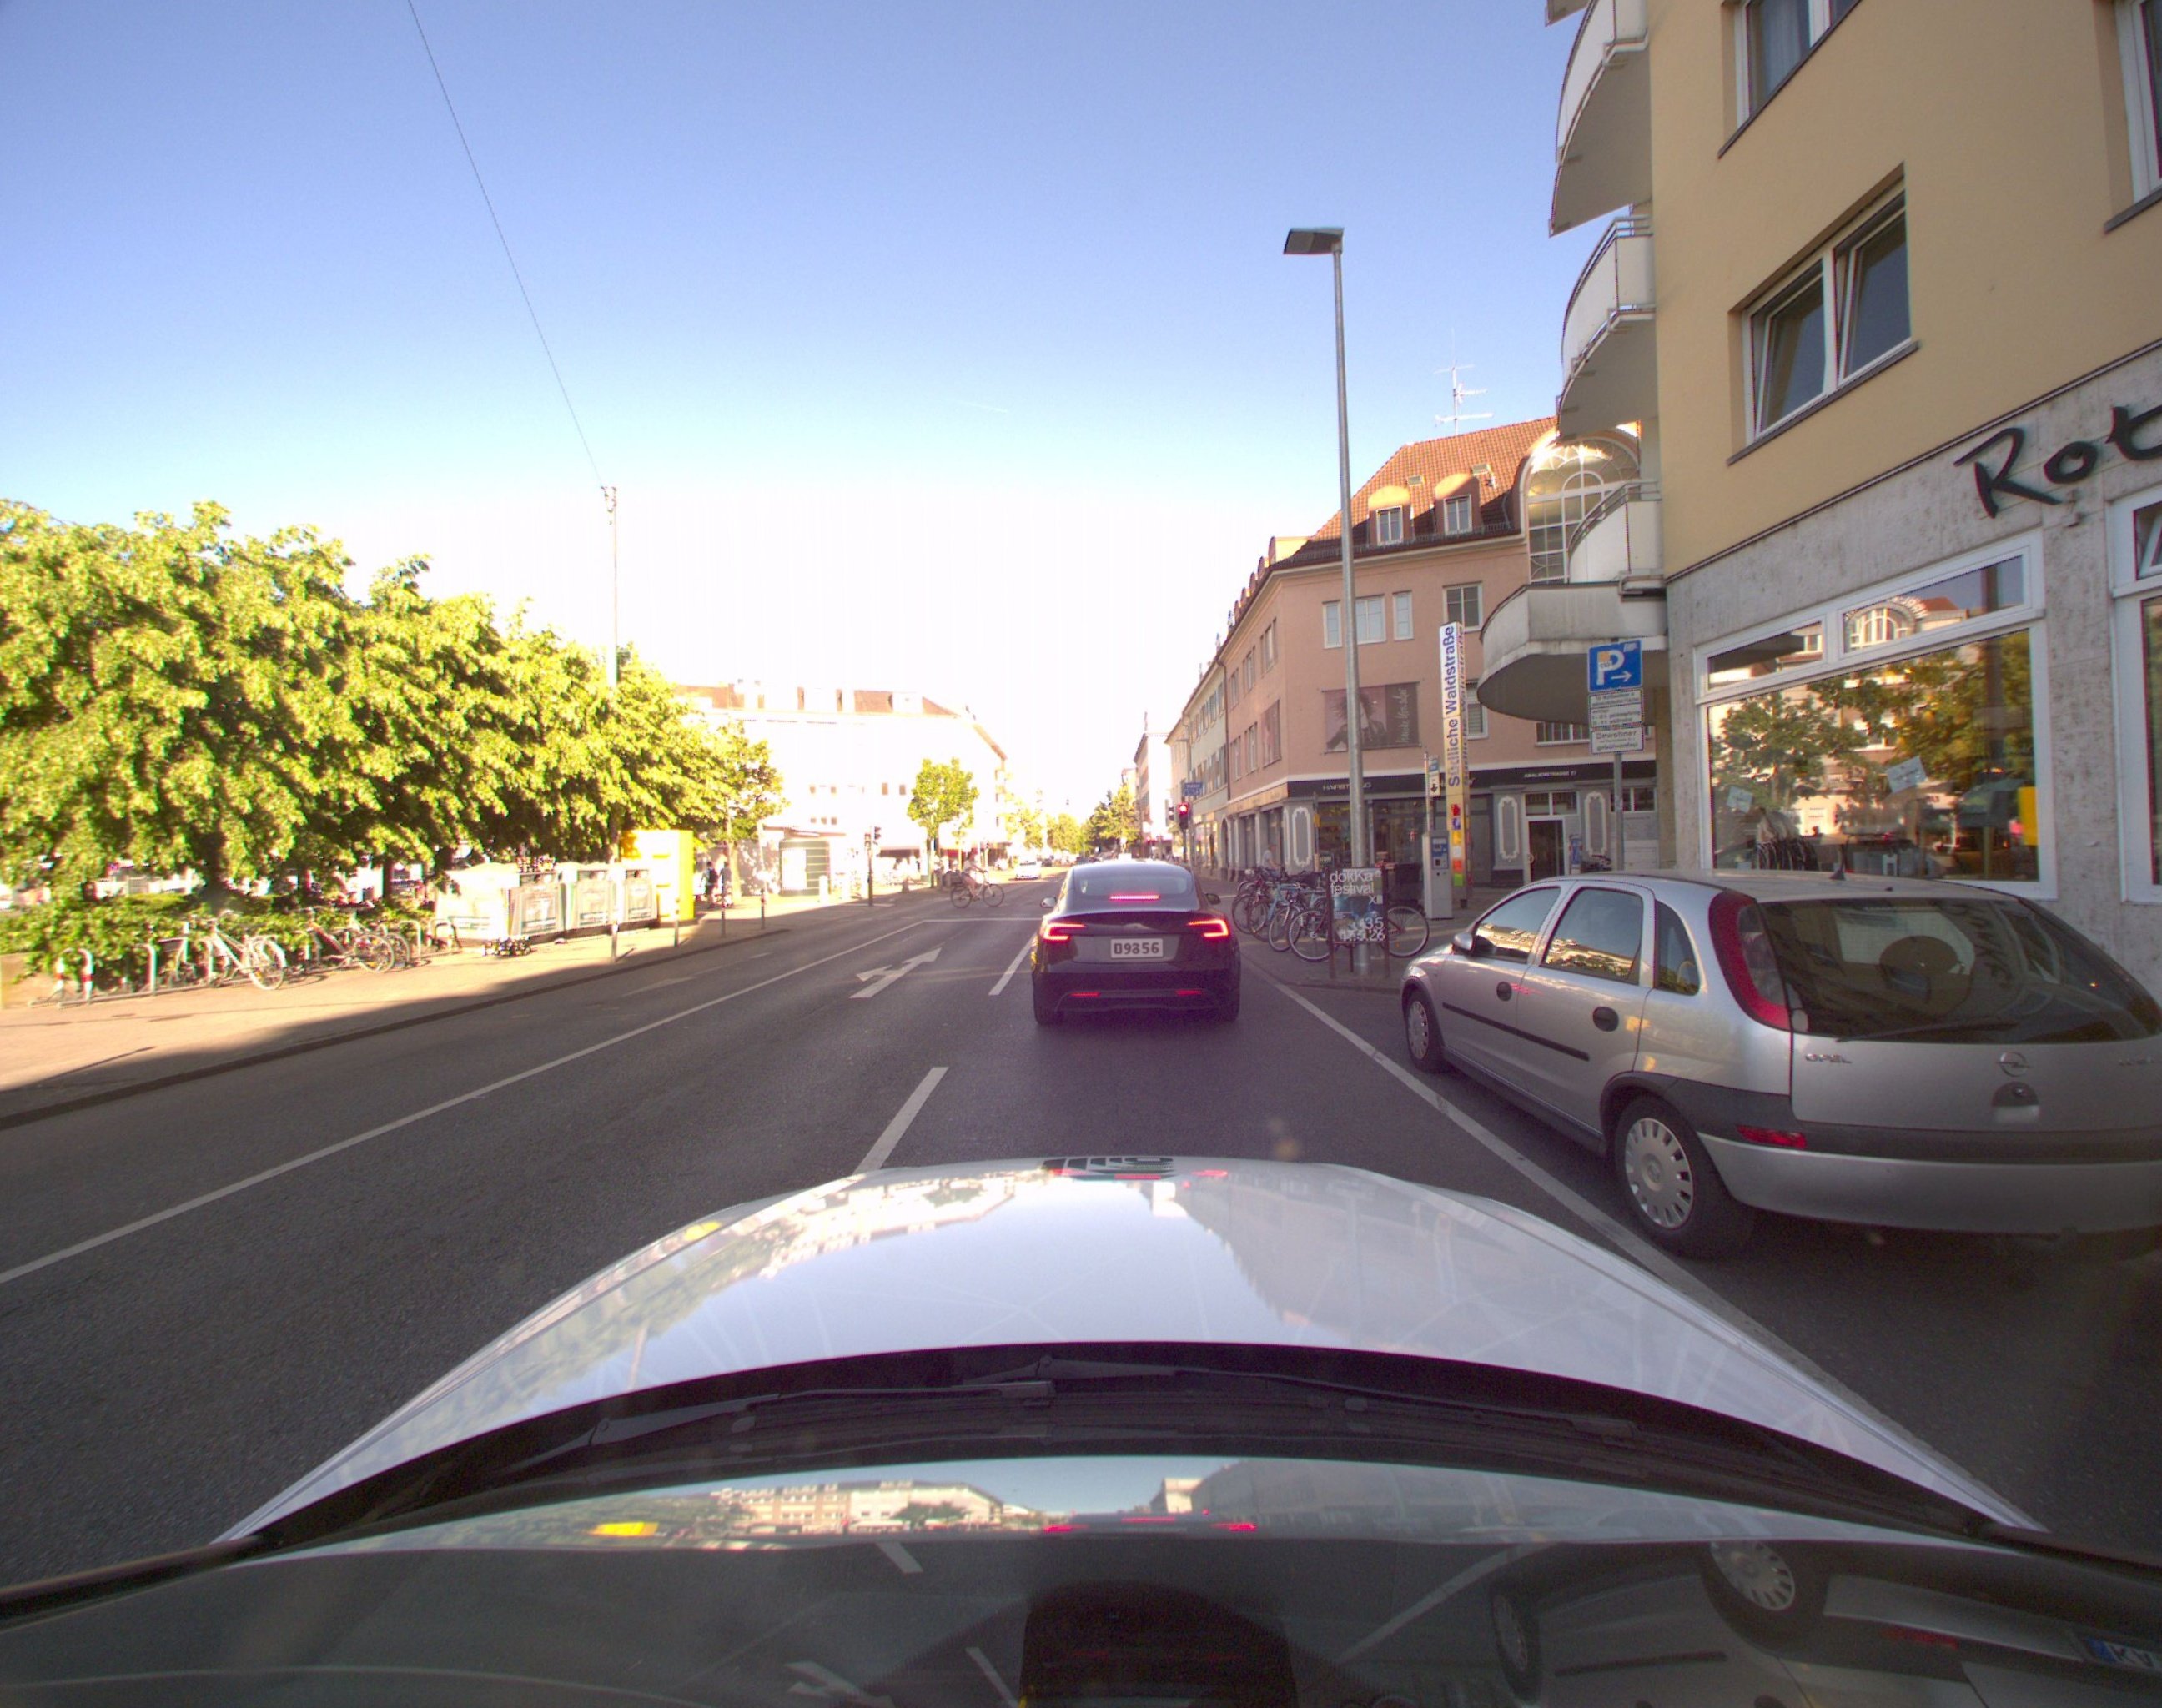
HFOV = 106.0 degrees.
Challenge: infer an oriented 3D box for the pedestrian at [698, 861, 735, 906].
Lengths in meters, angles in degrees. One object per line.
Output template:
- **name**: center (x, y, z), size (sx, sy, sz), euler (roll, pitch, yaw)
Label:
- **pedestrian**: center (-13.590, 1.109, 30.384), size (0.981, 1.636, 0.738), euler (-1, 0, 5)

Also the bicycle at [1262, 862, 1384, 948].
- **bicycle**: center (3.571, 0.747, 12.070), size (1.622, 1.160, 0.433), euler (-3, 0, 0)

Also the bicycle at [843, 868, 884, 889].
- **bicycle**: center (-12.403, 1.403, 46.422), size (2.075, 1.104, 0.806), euler (-1, 0, 1)

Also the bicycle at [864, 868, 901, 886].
- **bicycle**: center (-12.449, 1.441, 51.201), size (2.075, 1.104, 0.806), euler (-1, 0, 1)

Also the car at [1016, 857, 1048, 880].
- **car**: center (-3.665, 1.084, 61.697), size (1.986, 1.541, 4.002), euler (-5, 0, 2)

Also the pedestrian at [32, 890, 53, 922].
- **pedestrian**: center (-60.612, 3.032, 47.524), size (0.576, 1.792, 0.604), euler (-1, -1, 19)

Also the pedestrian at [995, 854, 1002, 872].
- **pedestrian**: center (-9.511, 1.019, 93.977), size (0.623, 2.013, 0.575), euler (-1, 0, 1)

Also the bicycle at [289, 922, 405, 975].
- **bicycle**: center (-11.297, 1.448, 12.543), size (1.465, 0.769, 0.442), euler (-1, -1, 6)

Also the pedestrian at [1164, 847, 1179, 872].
- **pedestrian**: center (6.790, 0.410, 61.133), size (0.995, 1.850, 0.615), euler (-1, 0, 1)

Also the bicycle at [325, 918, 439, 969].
- **bicycle**: center (-11.230, 1.434, 13.102), size (1.466, 0.769, 0.475), euler (-1, -1, 4)

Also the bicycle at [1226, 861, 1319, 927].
- **bicycle**: center (3.643, 0.753, 15.572), size (1.621, 1.160, 0.433), euler (-3, 0, 2)

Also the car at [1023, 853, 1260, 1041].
- **car**: center (0.563, 0.738, 8.327), size (1.842, 1.455, 3.788), euler (-1, 0, 3)

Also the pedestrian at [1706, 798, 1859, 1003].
- **pedestrian**: center (5.961, 0.382, 6.960), size (0.659, 1.633, 0.629), euler (-4, -1, 6)

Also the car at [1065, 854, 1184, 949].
- **car**: center (0.768, 0.748, 14.695), size (1.842, 1.455, 3.788), euler (-1, 0, 3)

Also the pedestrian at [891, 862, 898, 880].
- **pedestrian**: center (-14.308, 1.317, 62.373), size (0.419, 1.339, 0.393), euler (-1, 0, -5)

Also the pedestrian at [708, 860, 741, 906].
- **pedestrian**: center (-13.660, 1.091, 31.233), size (0.897, 1.725, 0.745), euler (-1, 0, 5)

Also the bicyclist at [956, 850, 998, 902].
- **bicyclist**: center (-3.237, 0.678, 25.304), size (1.088, 1.589, 0.631), euler (-1, 0, 18)

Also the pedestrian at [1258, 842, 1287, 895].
- **pedestrian**: center (5.295, 0.401, 22.534), size (0.738, 1.440, 0.584), euler (-1, -1, 11)

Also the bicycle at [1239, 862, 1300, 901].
- **bicycle**: center (5.197, 0.761, 22.539), size (1.605, 1.045, 0.592), euler (-1, -1, 11)

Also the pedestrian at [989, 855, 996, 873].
- **pedestrian**: center (-10.239, 1.125, 93.984), size (0.623, 2.013, 0.707), euler (-1, 0, 1)

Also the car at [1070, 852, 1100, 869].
- **car**: center (0.424, 0.716, 89.712), size (2.055, 1.727, 4.627), euler (-1, 0, -17)

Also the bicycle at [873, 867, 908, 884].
- **bicycle**: center (-12.491, 1.410, 53.397), size (2.075, 1.104, 0.806), euler (-1, 0, 1)

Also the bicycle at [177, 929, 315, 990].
- **bicycle**: center (-11.419, 1.429, 11.143), size (1.645, 0.769, 0.476), euler (-1, -1, 10)

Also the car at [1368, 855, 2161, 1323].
- **car**: center (2.977, 0.724, 4.416), size (1.615, 1.394, 3.888), euler (-1, 0, 3)

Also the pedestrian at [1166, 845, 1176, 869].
- **pedestrian**: center (6.749, 0.212, 61.182), size (0.701, 1.783, 0.534), euler (-1, 0, 1)

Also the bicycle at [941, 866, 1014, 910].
- **bicycle**: center (-3.221, 1.058, 25.308), size (2.108, 1.200, 0.631), euler (-4, -1, 18)

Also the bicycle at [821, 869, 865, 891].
- **bicycle**: center (-12.821, 1.415, 43.910), size (2.075, 1.104, 0.806), euler (-1, 0, 1)

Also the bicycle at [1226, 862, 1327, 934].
- **bicycle**: center (3.447, 0.766, 14.416), size (1.622, 1.160, 0.433), euler (-3, 0, 0)

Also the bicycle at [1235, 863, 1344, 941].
- **bicycle**: center (3.392, 0.776, 13.312), size (1.622, 1.160, 0.433), euler (-3, 0, 0)
